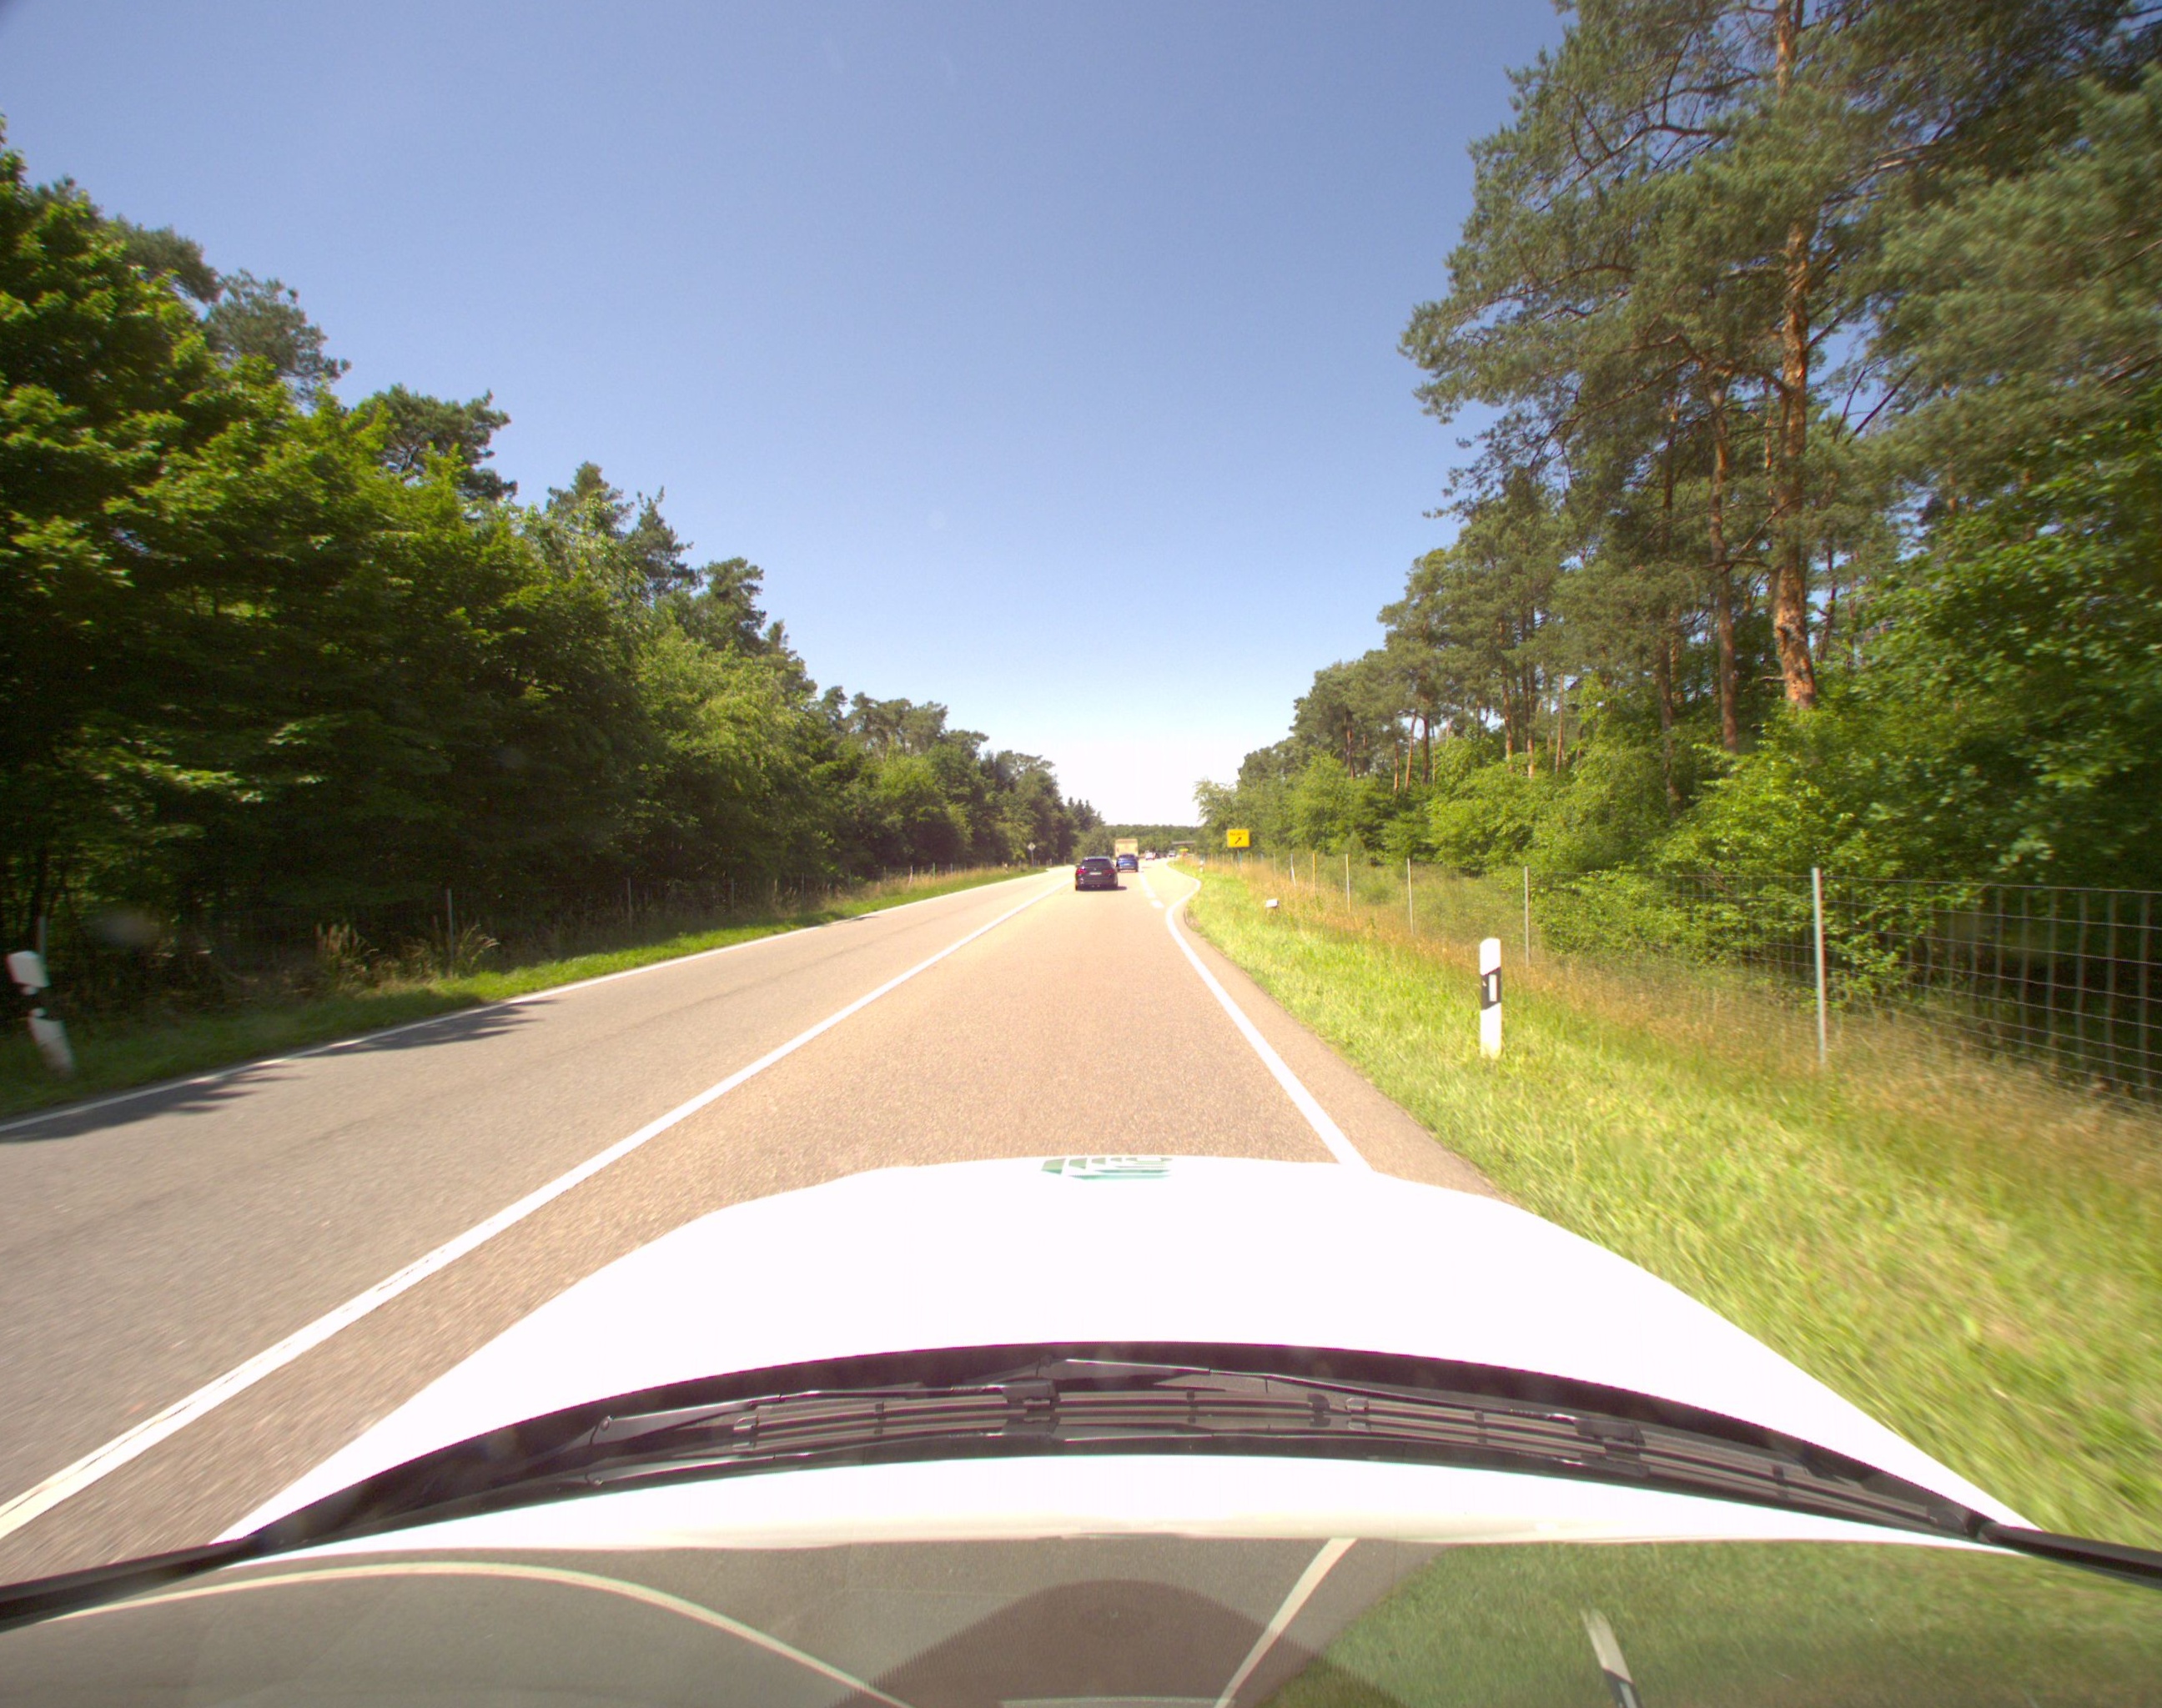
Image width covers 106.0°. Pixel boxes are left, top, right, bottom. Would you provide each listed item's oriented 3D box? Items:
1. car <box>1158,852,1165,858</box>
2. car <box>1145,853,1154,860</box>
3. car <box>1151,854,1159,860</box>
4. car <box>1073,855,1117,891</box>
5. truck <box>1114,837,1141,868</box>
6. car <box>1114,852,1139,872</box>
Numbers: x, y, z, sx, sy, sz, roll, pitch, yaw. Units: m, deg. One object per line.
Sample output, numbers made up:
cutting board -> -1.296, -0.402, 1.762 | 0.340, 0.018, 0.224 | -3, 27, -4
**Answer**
car -> 23.740, 0.425, 240.538 | 1.983, 1.636, 4.008 | -2, 0, 7
car -> 15.680, 0.525, 187.082 | 1.856, 1.605, 4.001 | 0, 0, 1
car -> 19.688, 0.802, 216.172 | 1.985, 1.420, 4.004 | 0, 0, 4
car -> 0.591, 0.810, 36.616 | 1.815, 1.470, 3.998 | -2, 0, -1
truck -> 5.362, -0.228, 94.009 | 2.953, 3.387, 6.444 | -1, 0, 4
car -> 3.854, 0.653, 69.660 | 1.940, 1.541, 4.001 | -2, 0, 1
